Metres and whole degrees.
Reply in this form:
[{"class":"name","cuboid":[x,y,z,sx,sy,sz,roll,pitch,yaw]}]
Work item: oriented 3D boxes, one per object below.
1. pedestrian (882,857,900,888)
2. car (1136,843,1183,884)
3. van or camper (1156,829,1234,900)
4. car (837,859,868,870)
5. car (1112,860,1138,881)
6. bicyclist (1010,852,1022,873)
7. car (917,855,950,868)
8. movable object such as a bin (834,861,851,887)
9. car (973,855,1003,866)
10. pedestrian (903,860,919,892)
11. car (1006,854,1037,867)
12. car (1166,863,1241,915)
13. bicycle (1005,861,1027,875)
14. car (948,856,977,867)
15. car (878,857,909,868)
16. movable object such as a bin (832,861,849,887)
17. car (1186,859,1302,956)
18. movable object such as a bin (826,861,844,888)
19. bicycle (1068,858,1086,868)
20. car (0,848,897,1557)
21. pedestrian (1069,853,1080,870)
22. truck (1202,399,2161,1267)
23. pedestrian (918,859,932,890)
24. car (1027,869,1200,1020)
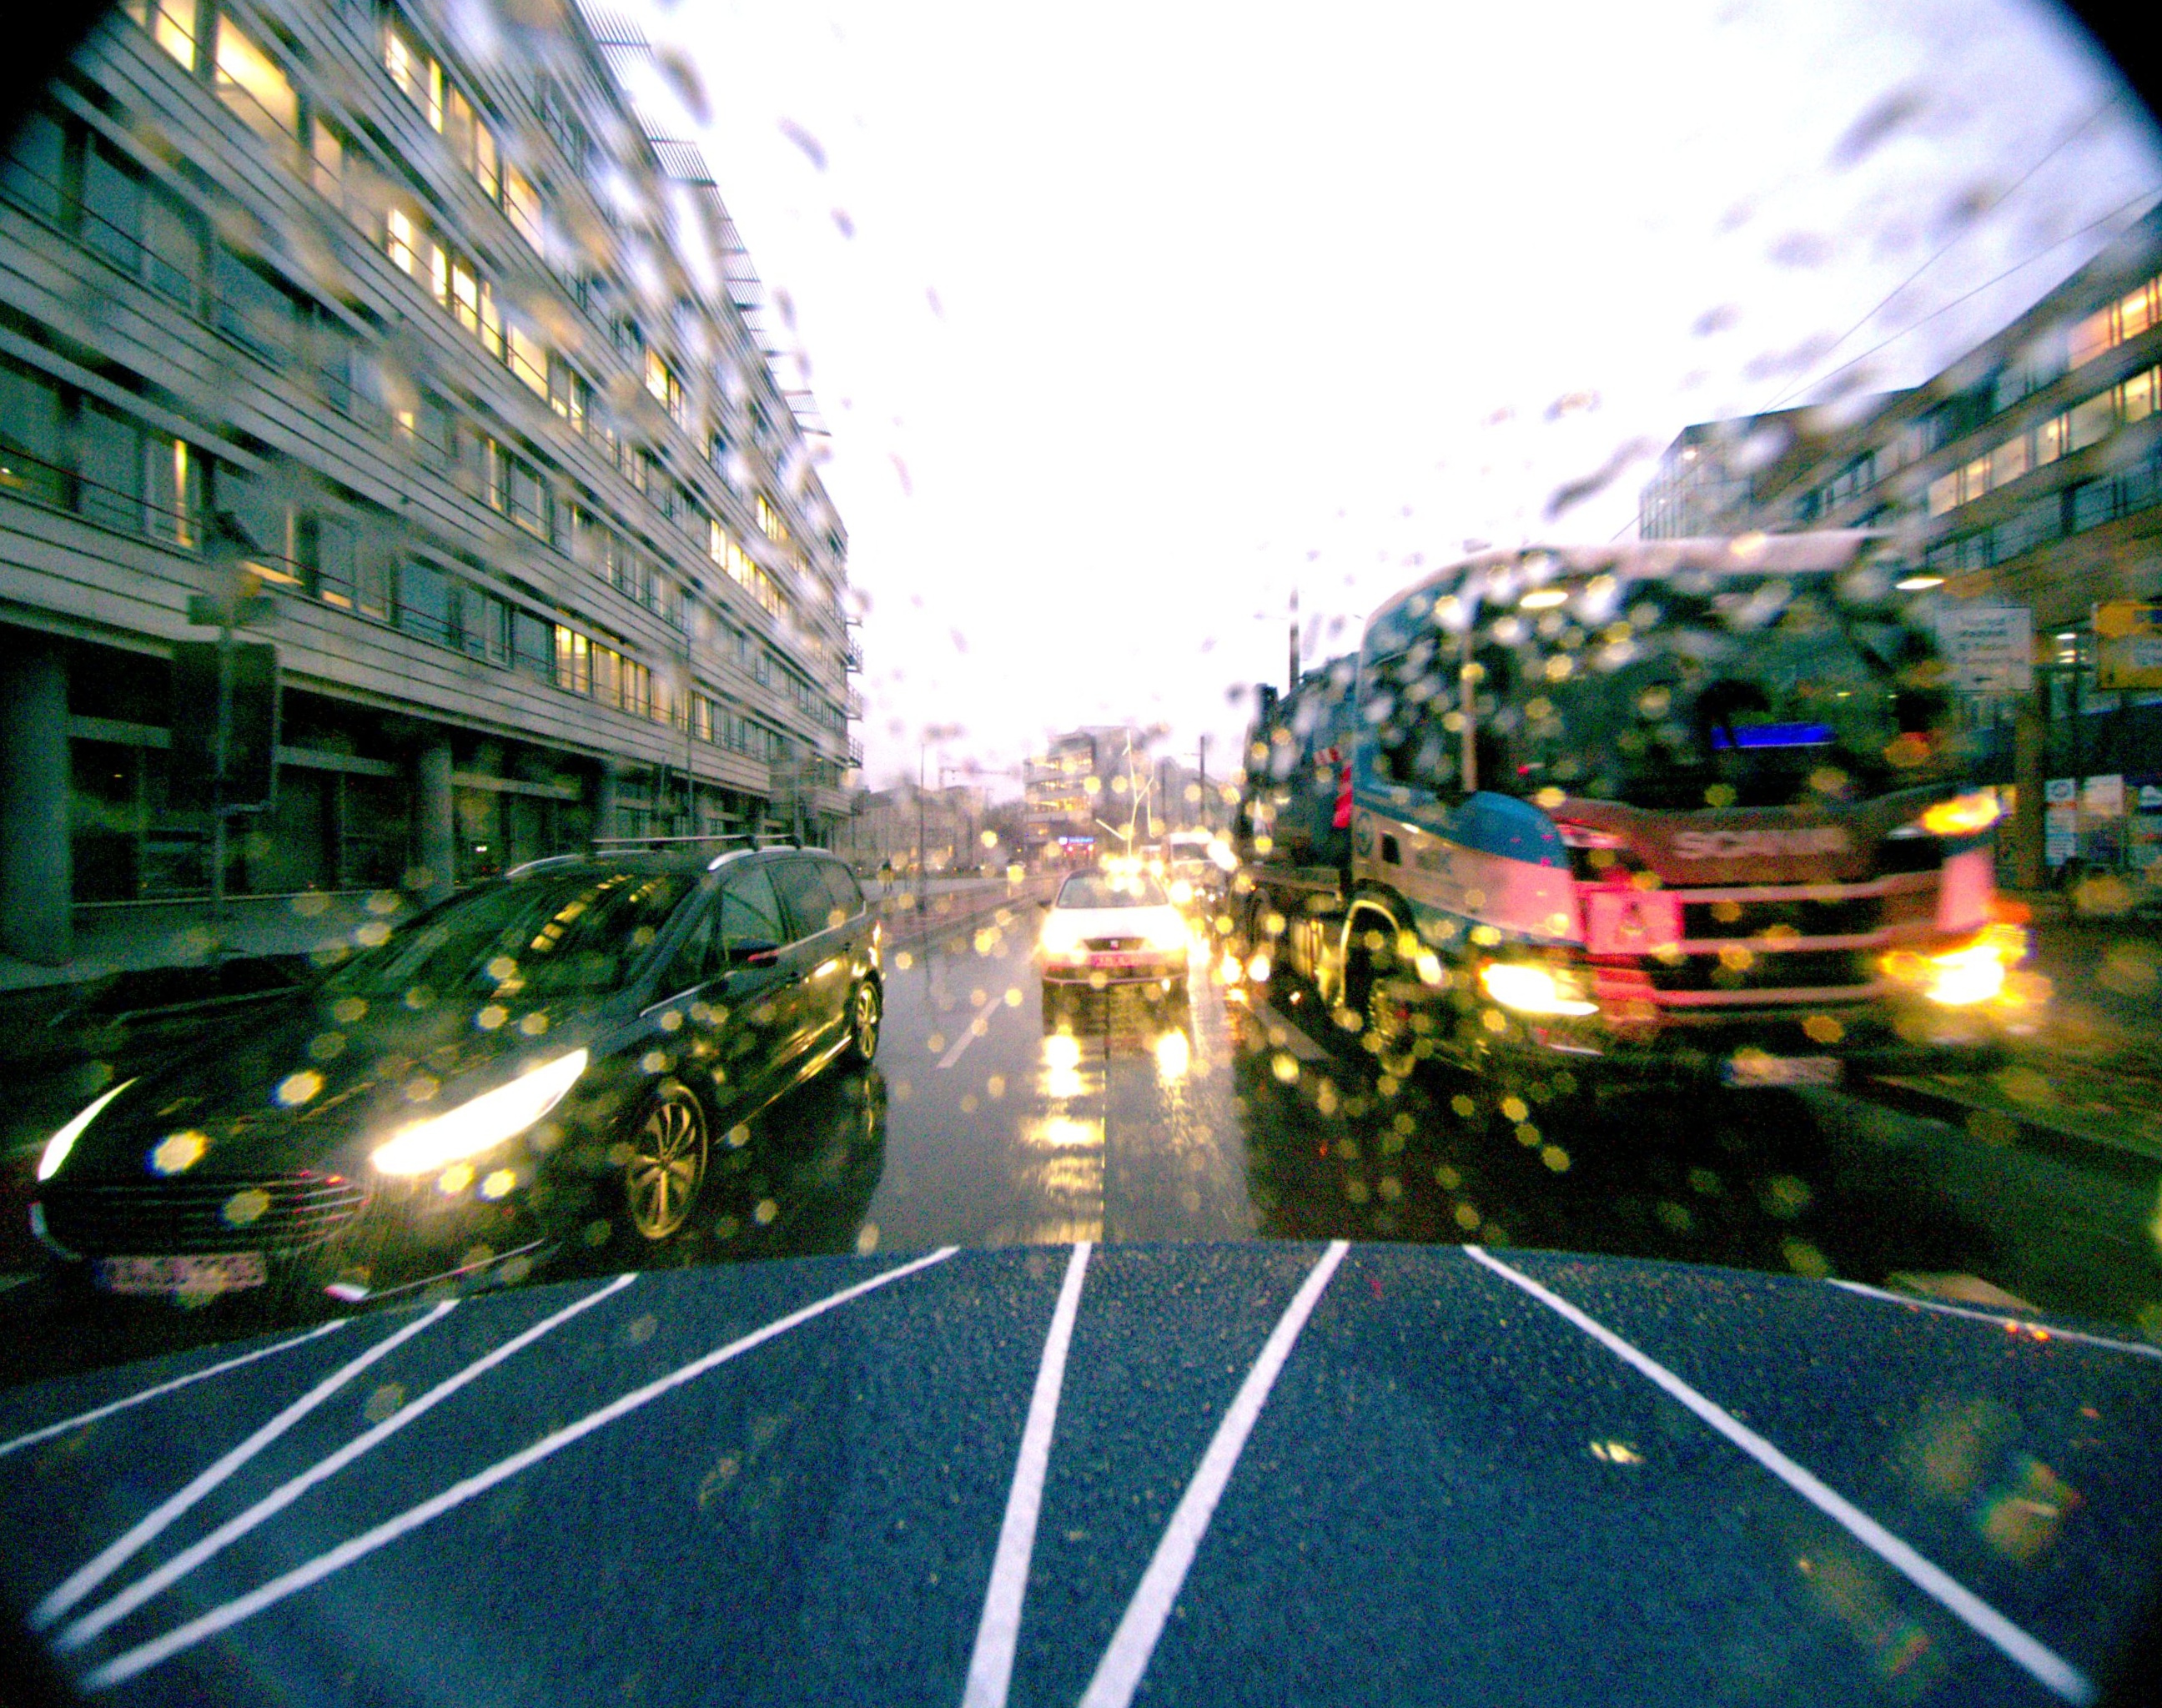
[{"class":"pedestrian","cuboid":[-10.552,1.013,42.146,0.747,1.692,0.969,2,0,-3]},{"class":"car","cuboid":[5.794,0.694,56.774,2.131,2.847,5.809,-1,0,-8]},{"class":"van or camper","cuboid":[4.395,0.373,30.323,2.153,2.517,5.898,-1,0,0]},{"class":"car","cuboid":[-35.167,1.618,116.926,3.997,1.496,2.002,-1,0,16]},{"class":"car","cuboid":[4.155,1.529,72.710,2.170,1.744,4.540,0,2,0]},{"class":"bicyclist","cuboid":[-5.666,0.730,66.304,0.808,1.787,0.670,-1,1,-36]},{"class":"car","cuboid":[-21.682,1.102,111.732,4.368,1.750,2.002,-1,0,16]},{"class":"movable object such as a bin","cuboid":[-13.566,1.126,43.244,0.666,1.468,0.840,-1,1,-3]},{"class":"car","cuboid":[-13.295,0.980,108.720,3.759,1.528,1.783,-1,0,17]},{"class":"pedestrian","cuboid":[-9.282,1.194,41.528,0.651,1.692,0.884,1,0,-3]},{"class":"car","cuboid":[-8.408,0.949,107.537,3.918,1.699,1.782,-1,0,14]},{"class":"car","cuboid":[3.523,0.965,22.507,1.759,1.337,4.057,-1,0,3]},{"class":"bicycle","cuboid":[-5.678,1.182,66.301,1.764,1.191,0.680,-1,1,-36]},{"class":"car","cuboid":[-17.202,1.139,110.253,3.759,1.528,1.783,-1,0,17]},{"class":"car","cuboid":[-28.126,1.269,114.080,3.997,1.663,2.002,-1,0,16]},{"class":"movable object such as a bin","cuboid":[-13.400,1.118,42.315,0.666,1.420,0.840,-1,1,-3]},{"class":"car","cuboid":[3.351,1.023,16.337,1.634,1.516,3.938,0,4,0]},{"class":"movable object such as a bin","cuboid":[-13.403,1.102,41.418,0.666,1.420,0.840,-1,1,-3]},{"class":"bicycle","cuboid":[-0.492,1.136,92.803,2.203,1.182,0.668,0,1,3]},{"class":"car","cuboid":[-2.660,0.916,4.290,1.887,1.800,4.671,-2,0,2]},{"class":"pedestrian","cuboid":[-0.760,0.894,88.074,1.118,2.002,1.034,0,1,15]},{"class":"truck","cuboid":[3.160,-0.091,6.953,2.846,3.612,7.526,-1,0,0]},{"class":"pedestrian","cuboid":[-8.528,1.138,41.652,0.616,1.659,0.884,1,0,-3]},{"class":"car","cuboid":[0.359,0.981,9.851,1.782,1.464,3.943,-1,0,1]}]
